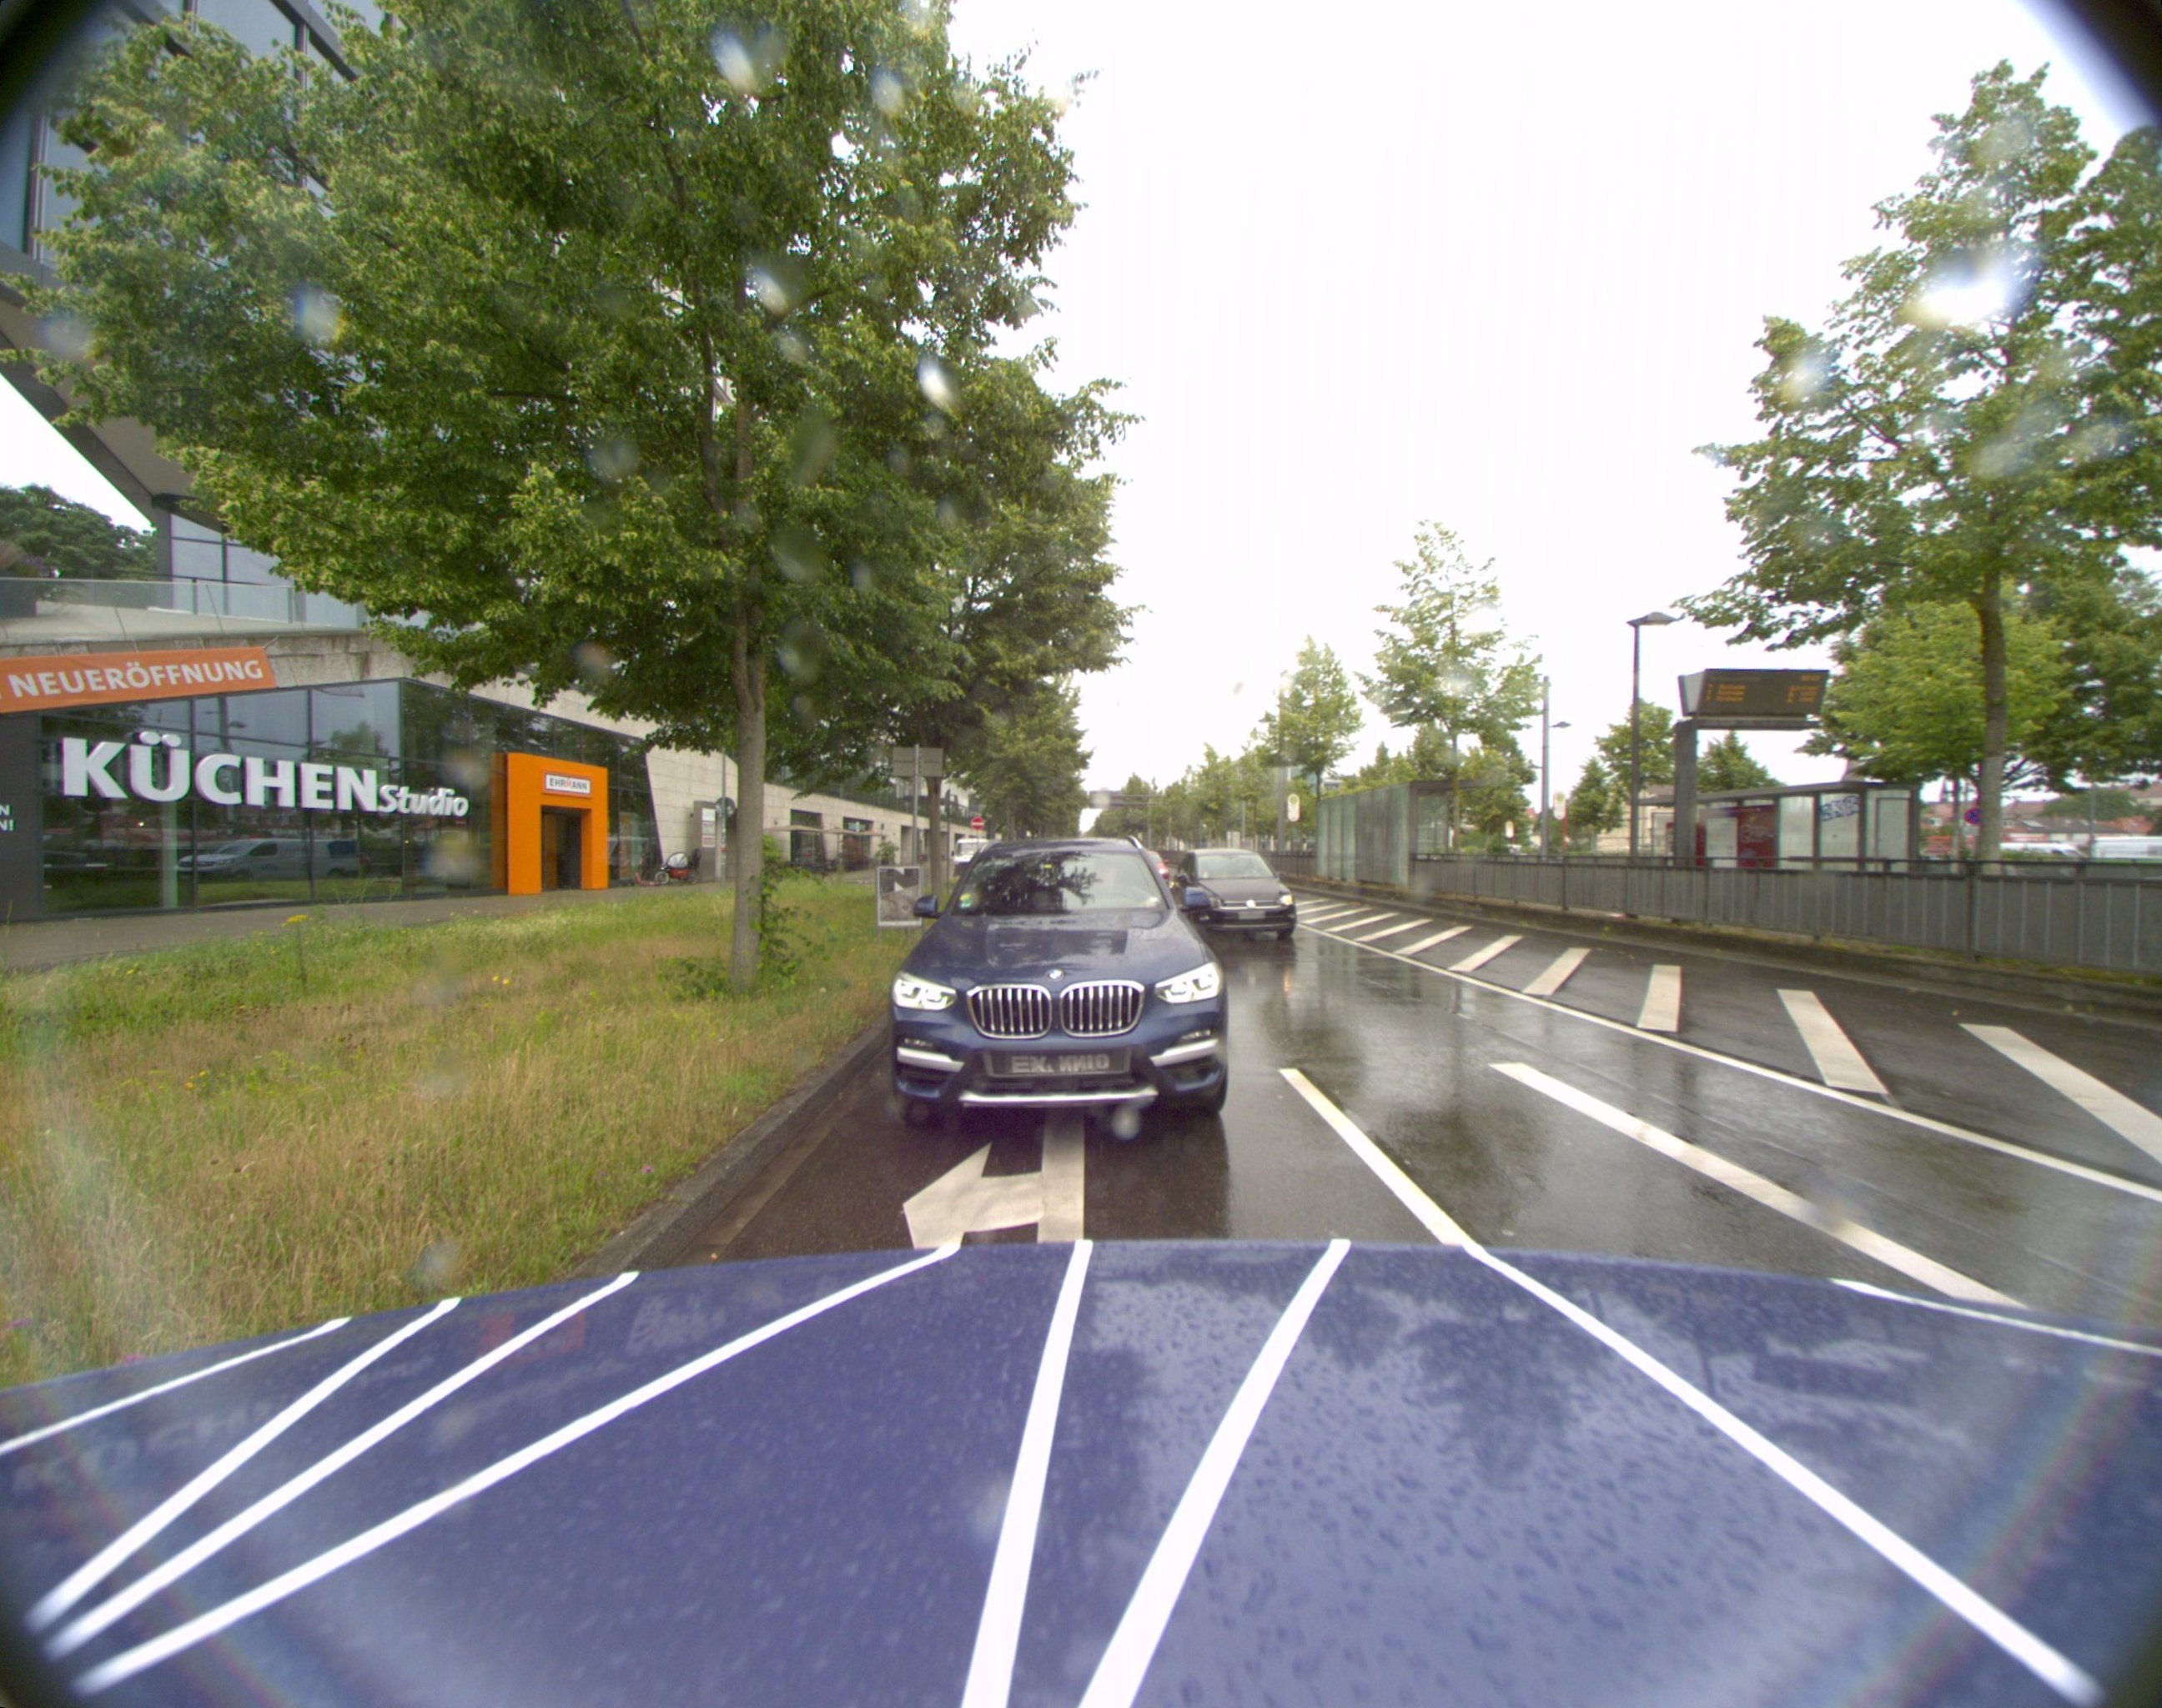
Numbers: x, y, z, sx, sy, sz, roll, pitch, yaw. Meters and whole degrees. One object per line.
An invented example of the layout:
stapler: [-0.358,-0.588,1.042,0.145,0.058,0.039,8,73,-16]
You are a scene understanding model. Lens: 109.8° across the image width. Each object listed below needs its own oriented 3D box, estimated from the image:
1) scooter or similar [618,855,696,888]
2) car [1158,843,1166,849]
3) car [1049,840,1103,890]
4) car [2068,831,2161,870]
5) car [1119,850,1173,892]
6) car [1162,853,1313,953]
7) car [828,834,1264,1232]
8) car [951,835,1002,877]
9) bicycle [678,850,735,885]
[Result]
scooter or similar: [-15.641,0.638,28.145,0.810,1.093,2.617,-2,1,18]
car: [27.004,-2.692,253.278,1.998,2.002,4.000,-2,1,2]
car: [-0.147,0.347,27.760,1.788,1.638,3.999,-2,1,1]
car: [70.168,-0.241,49.228,2.356,2.462,7.636,-2,1,-3]
car: [2.542,0.622,30.438,1.788,1.450,4.315,-2,1,1]
car: [2.786,0.790,14.519,1.788,1.509,4.331,-2,1,-2]
car: [-0.131,0.846,5.639,1.916,1.736,4.384,-2,-1,1]
car: [-5.895,0.055,43.468,2.084,2.189,5.097,-2,1,1]
bicycle: [-15.324,0.535,31.182,0.882,1.339,2.696,-2,1,1]
